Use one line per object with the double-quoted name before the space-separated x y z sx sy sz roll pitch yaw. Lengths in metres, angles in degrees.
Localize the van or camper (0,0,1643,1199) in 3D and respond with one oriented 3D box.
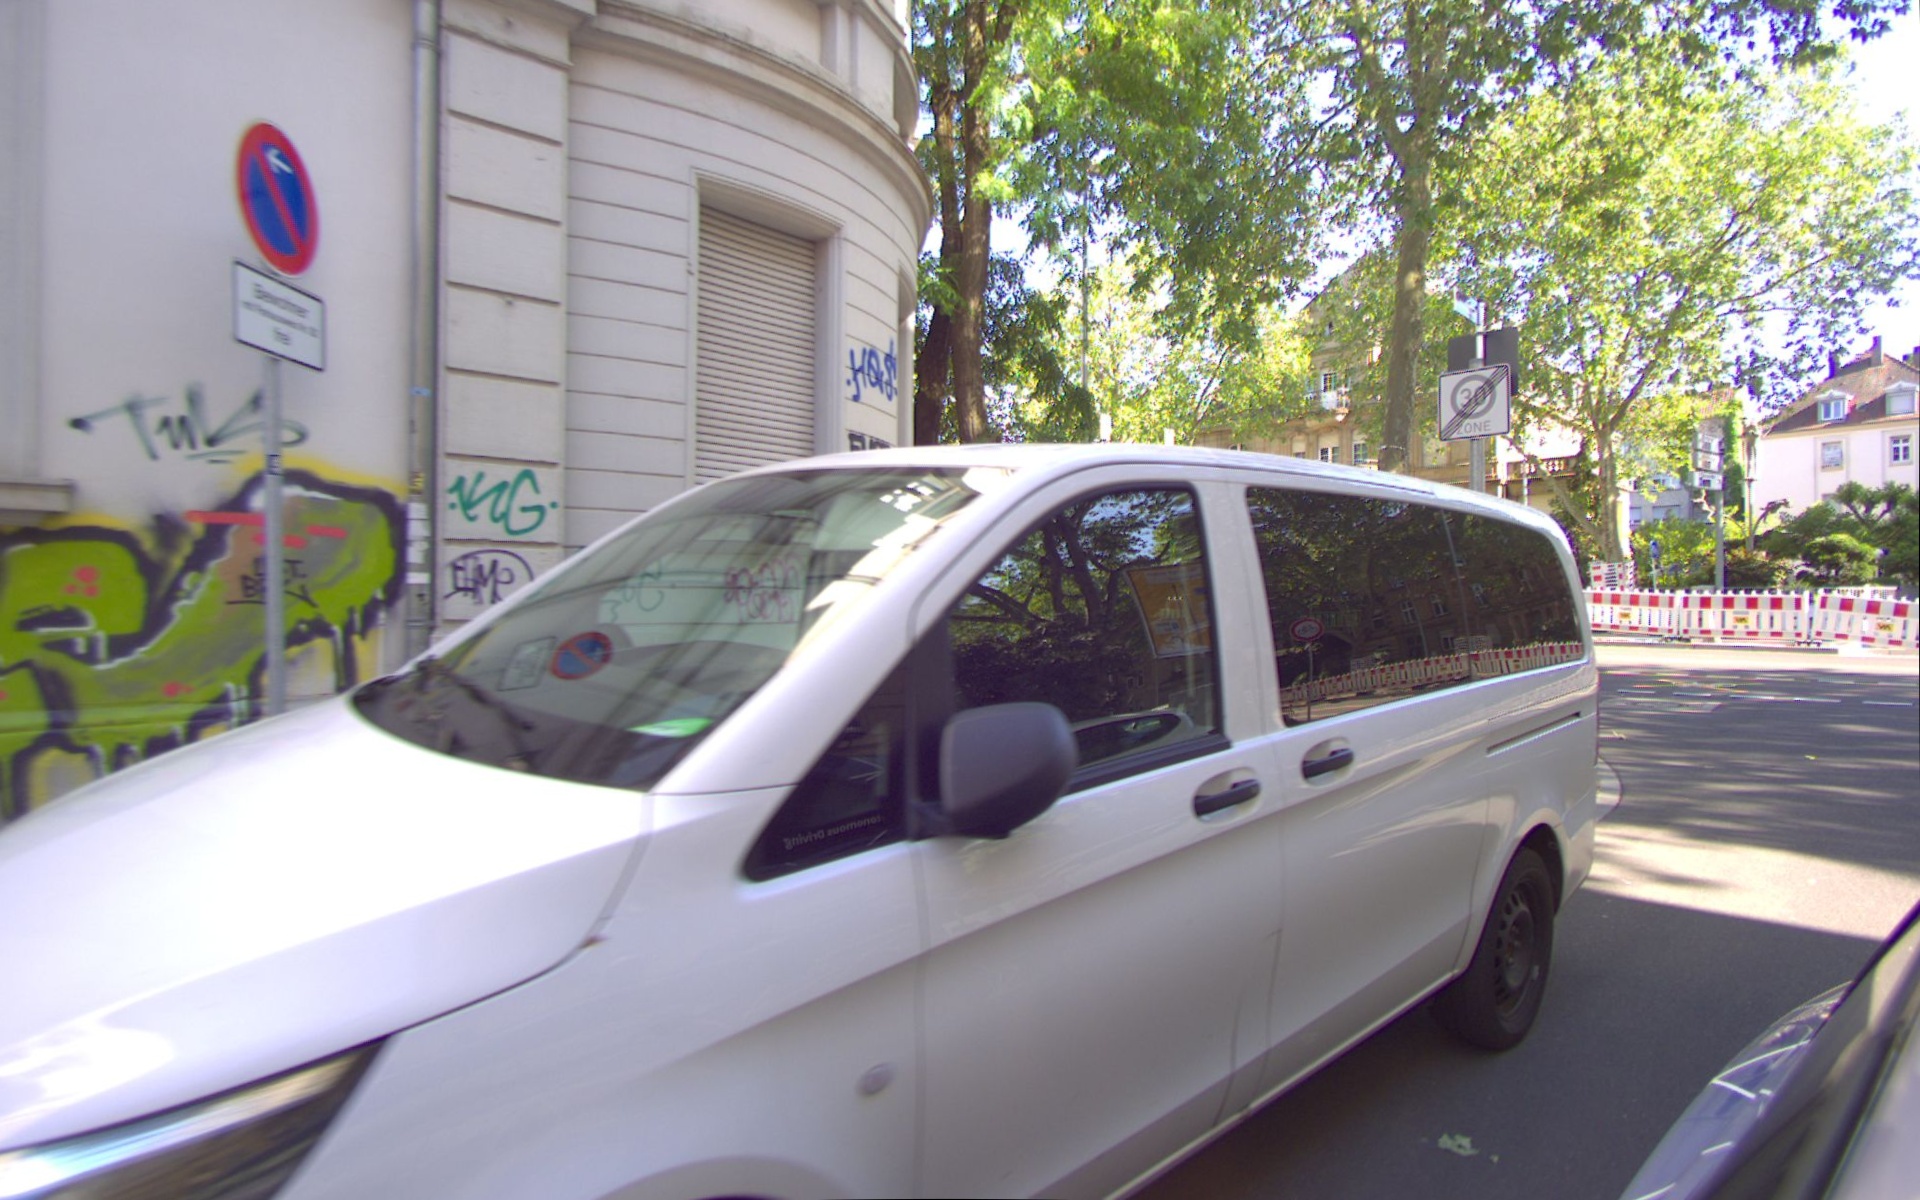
"van or camper" 0.192 0.433 3.018 4.944 2.039 1.896 0 0 -42
